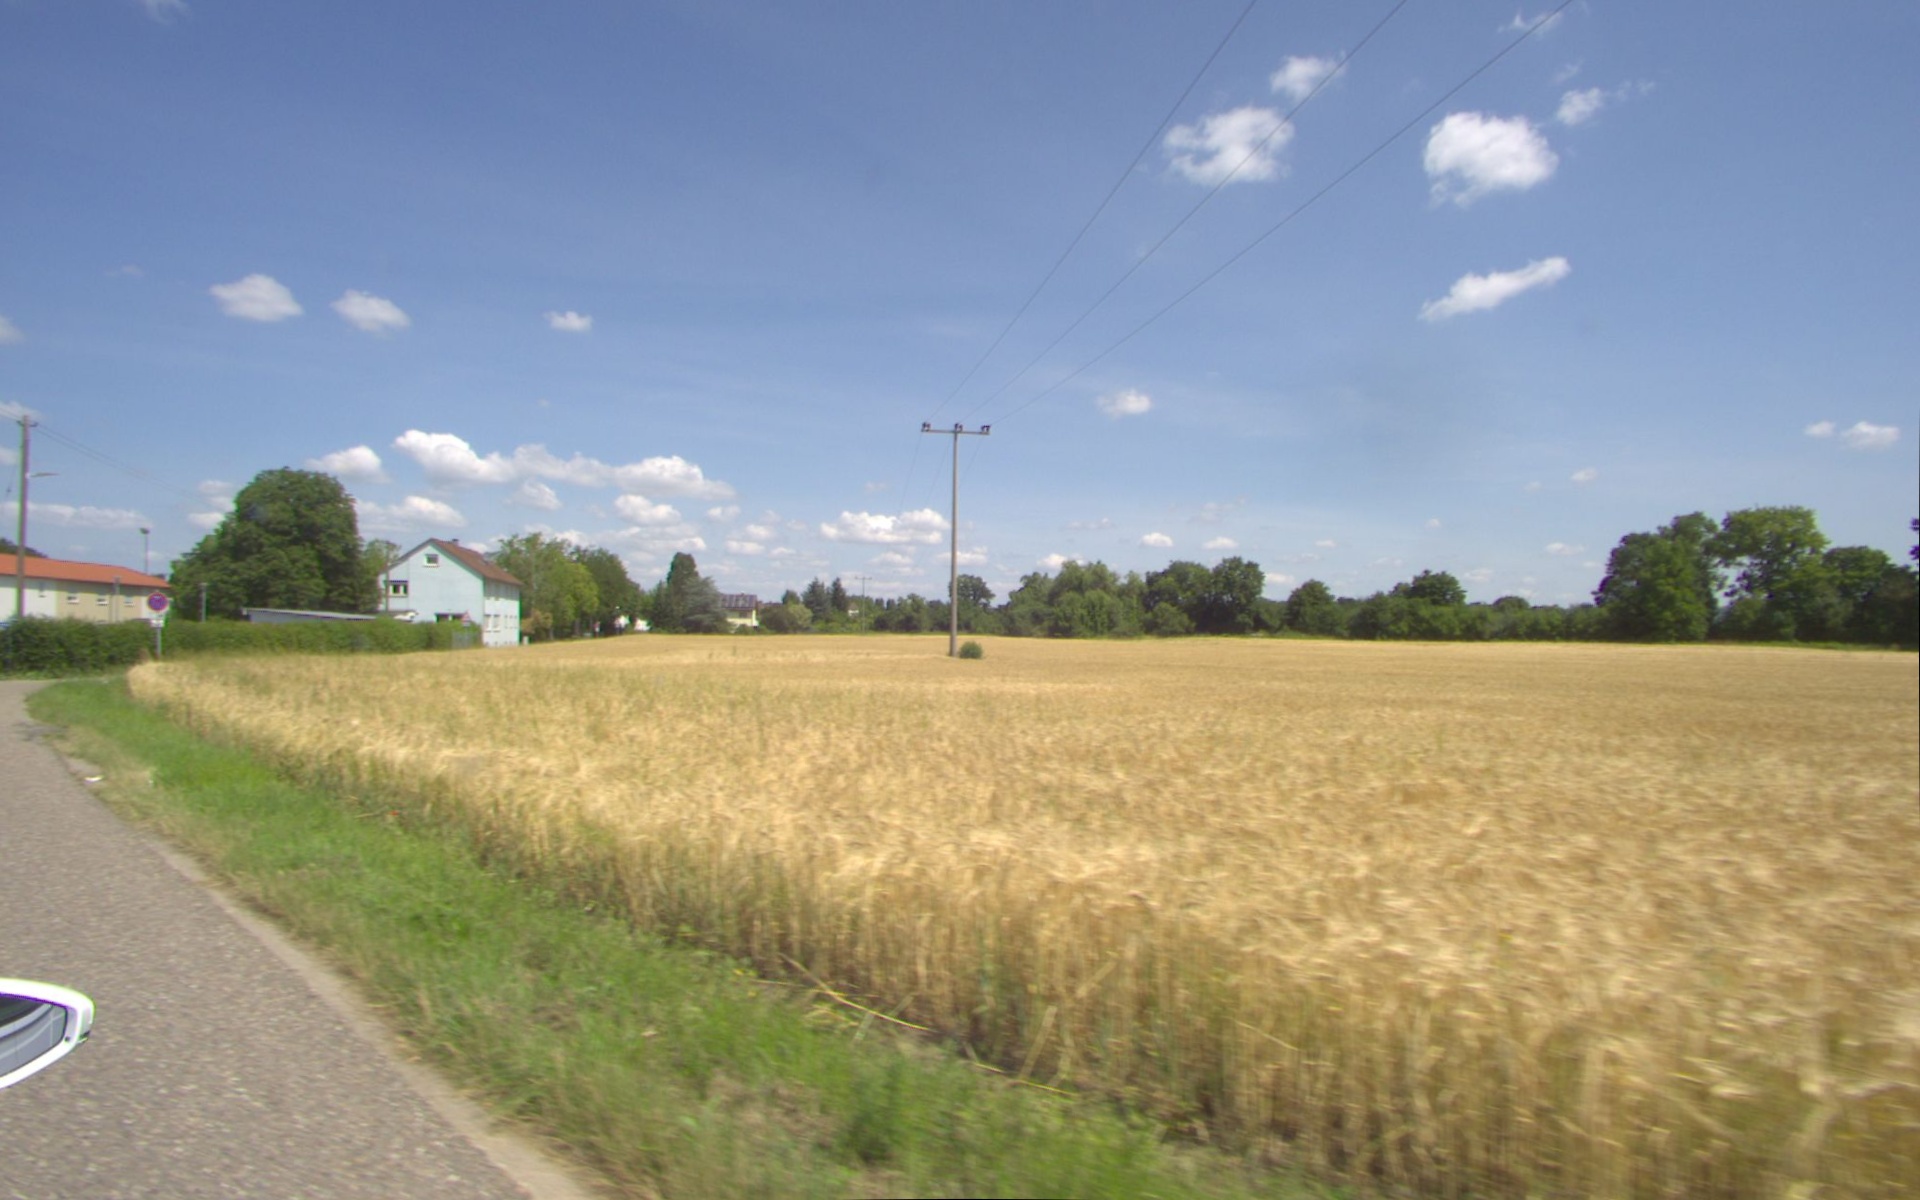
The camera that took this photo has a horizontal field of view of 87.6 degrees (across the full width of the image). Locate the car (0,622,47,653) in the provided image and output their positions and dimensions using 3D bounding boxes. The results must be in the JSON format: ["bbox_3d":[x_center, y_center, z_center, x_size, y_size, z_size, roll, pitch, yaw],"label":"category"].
[{"bbox_3d":[-52.472,2.014,54.138,4.074,1.635,1.998,1,-2,-15],"label":"car"}]
